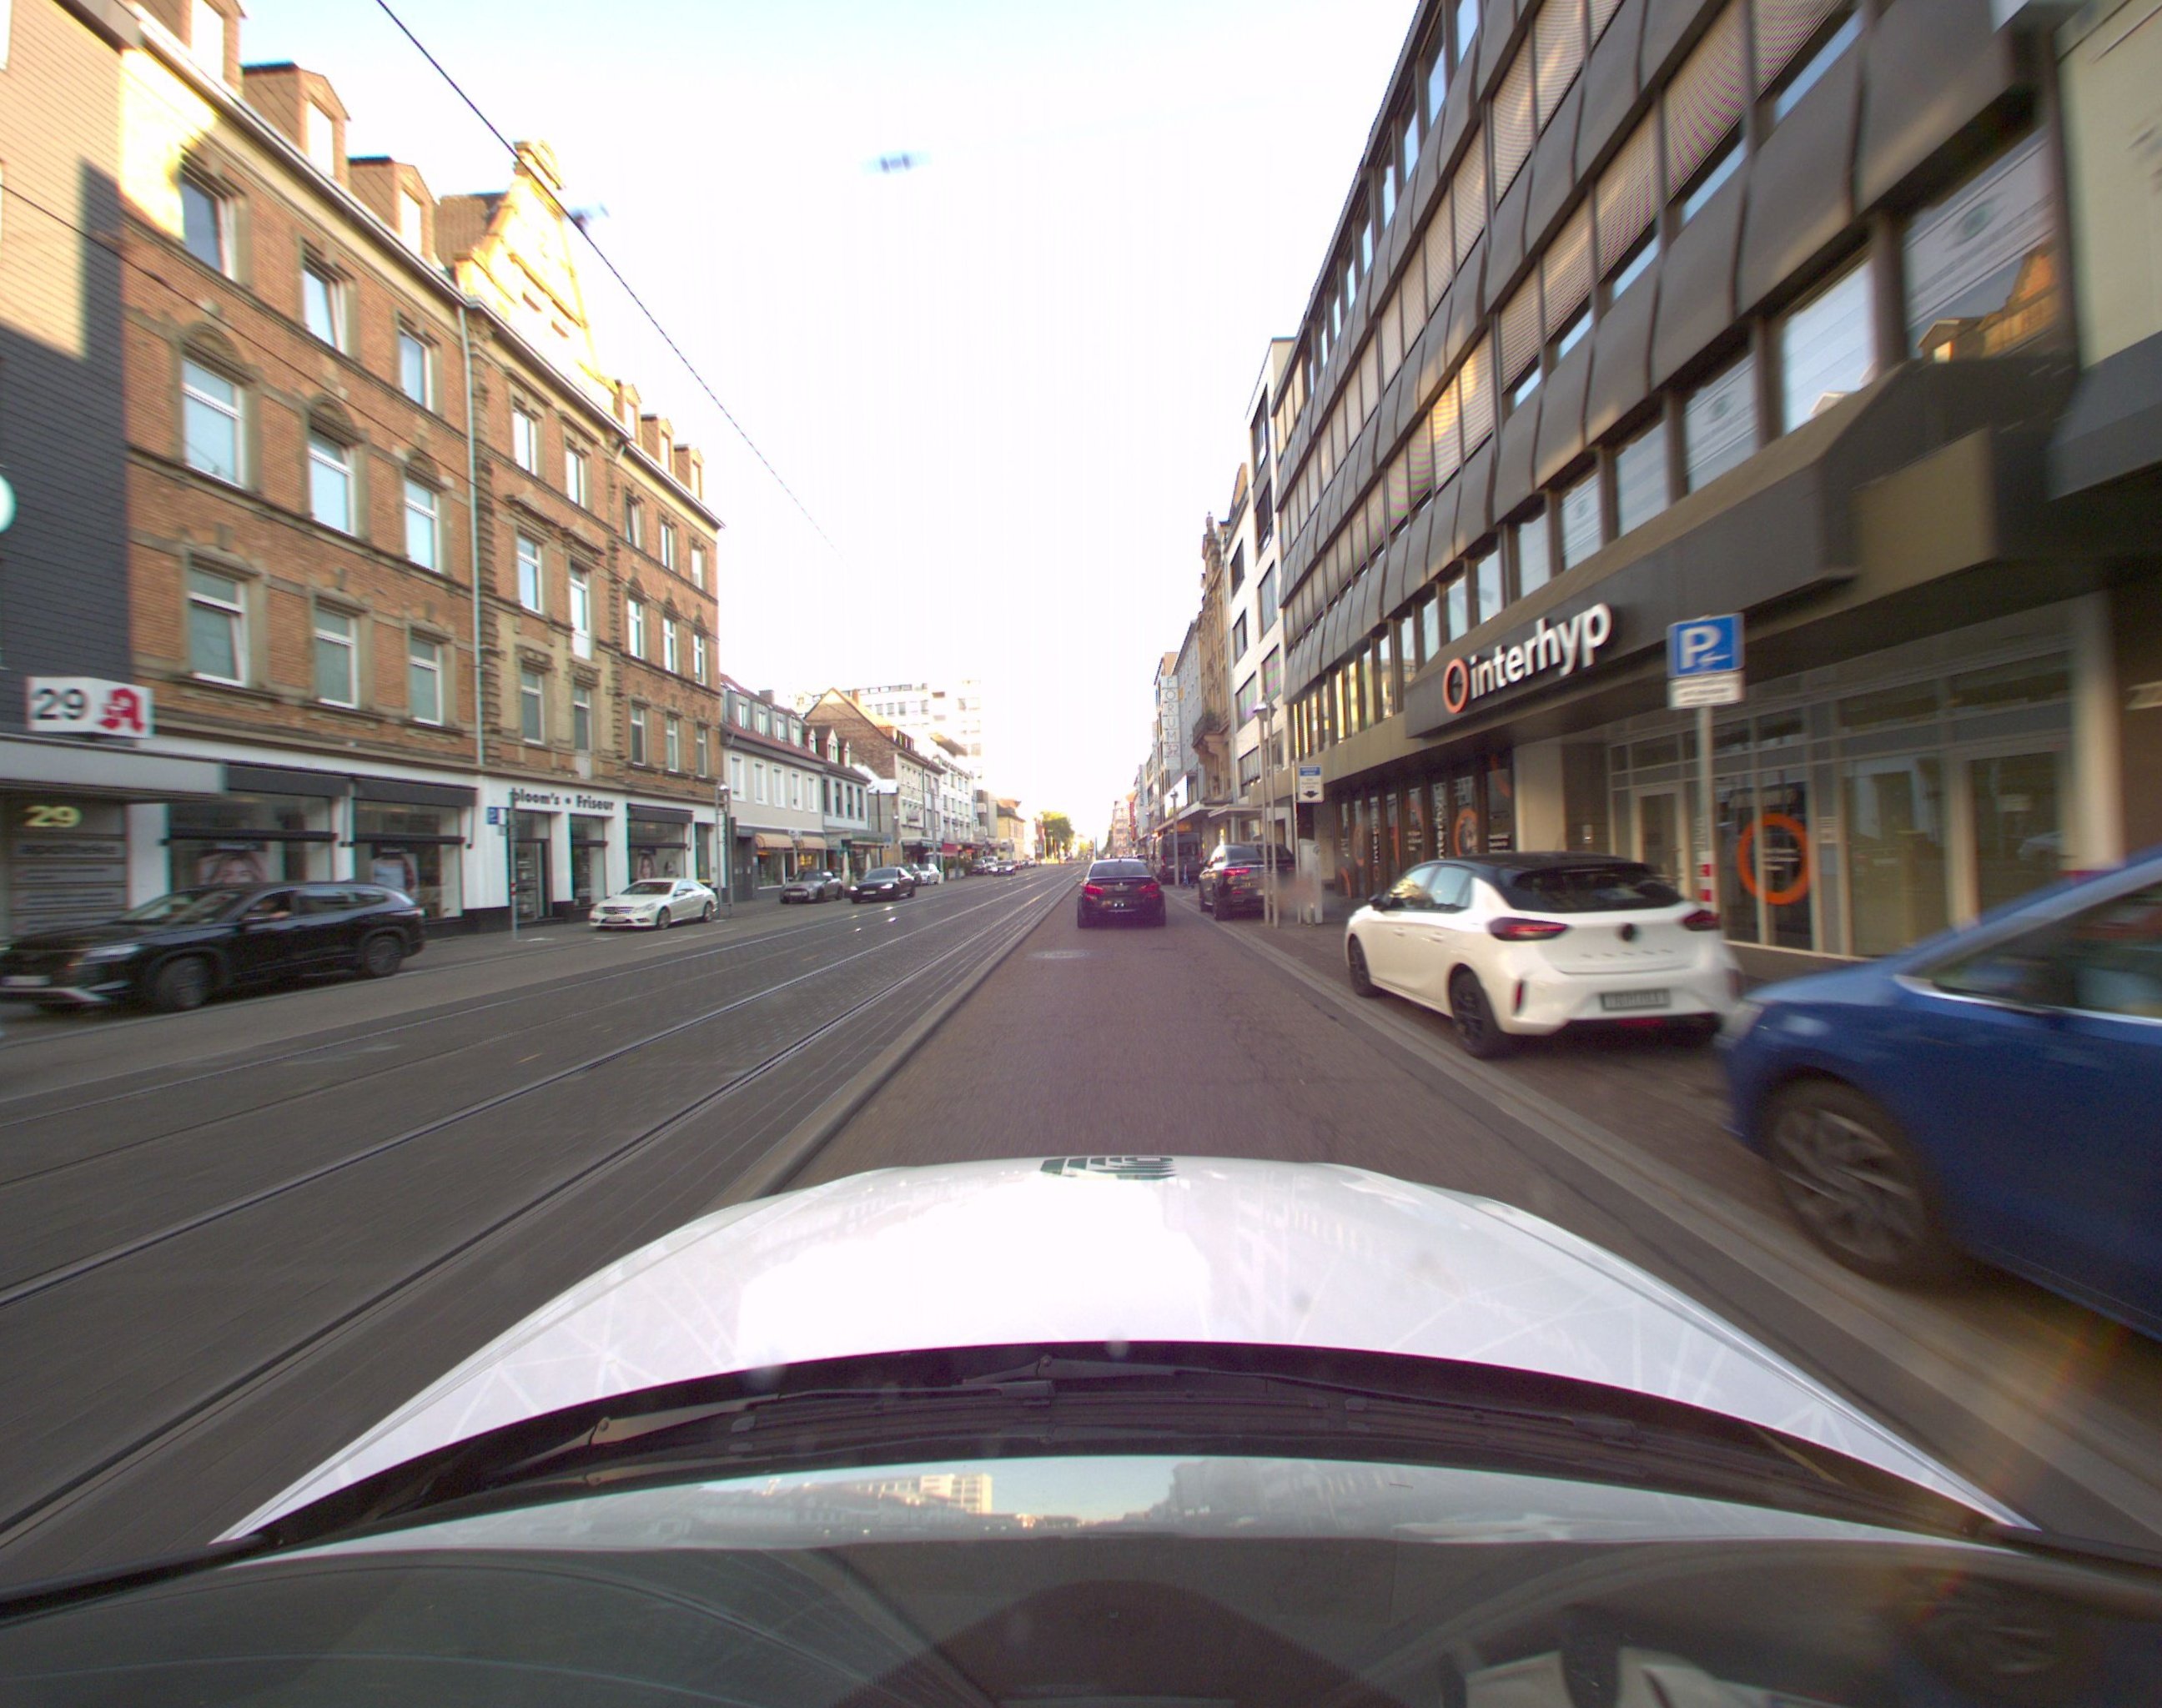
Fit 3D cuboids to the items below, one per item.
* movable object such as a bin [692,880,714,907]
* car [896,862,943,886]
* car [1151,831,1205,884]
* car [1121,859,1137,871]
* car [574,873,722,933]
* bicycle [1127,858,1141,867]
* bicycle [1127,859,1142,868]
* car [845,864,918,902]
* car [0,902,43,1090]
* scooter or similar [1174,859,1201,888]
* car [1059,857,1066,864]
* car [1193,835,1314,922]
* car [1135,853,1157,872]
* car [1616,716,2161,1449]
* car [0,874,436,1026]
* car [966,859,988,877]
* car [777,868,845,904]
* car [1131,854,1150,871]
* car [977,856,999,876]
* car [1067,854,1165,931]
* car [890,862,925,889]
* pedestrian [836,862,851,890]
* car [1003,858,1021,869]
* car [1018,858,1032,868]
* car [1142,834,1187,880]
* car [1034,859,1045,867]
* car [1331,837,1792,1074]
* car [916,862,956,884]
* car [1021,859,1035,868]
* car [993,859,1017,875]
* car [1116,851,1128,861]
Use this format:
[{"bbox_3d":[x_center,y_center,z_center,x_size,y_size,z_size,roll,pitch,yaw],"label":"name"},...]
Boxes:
[{"bbox_3d":[-14.840,1.550,31.973,0.516,1.043,0.659,0,0,1],"label":"movable object such as a bin"},{"bbox_3d":[-11.141,1.357,56.520,1.985,1.453,4.825,-2,0,3],"label":"car"},{"bbox_3d":[4.974,0.158,42.557,2.085,2.455,6.033,-3,0,1],"label":"car"},{"bbox_3d":[6.433,1.430,109.638,1.896,1.549,4.001,-2,-1,1],"label":"car"},{"bbox_3d":[-12.375,1.339,23.661,1.863,1.453,4.608,1,0,-1],"label":"car"},{"bbox_3d":[6.916,1.114,106.177,1.854,1.119,0.469,-2,-2,2],"label":"bicycle"},{"bbox_3d":[6.557,1.161,100.342,1.854,1.080,0.469,-2,-2,2],"label":"bicycle"},{"bbox_3d":[-8.478,1.188,35.007,1.988,1.453,4.647,-2,0,-1],"label":"car"},{"bbox_3d":[-9.470,1.167,4.262,1.987,1.453,4.656,-4,0,1],"label":"car"},{"bbox_3d":[4.552,0.828,34.803,0.493,1.220,1.273,-3,-1,38],"label":"scooter or similar"},{"bbox_3d":[-5.278,1.846,232.576,1.986,1.838,4.000,-2,-3,1],"label":"car"},{"bbox_3d":[3.936,0.519,19.385,1.986,1.727,4.567,-3,0,2],"label":"car"},{"bbox_3d":[5.680,0.753,71.177,1.649,1.537,3.886,-3,0,1],"label":"car"},{"bbox_3d":[3.485,0.482,1.516,1.986,1.727,4.578,-4,0,2],"label":"car"},{"bbox_3d":[-12.496,1.212,12.087,1.922,1.674,4.651,-1,0,4],"label":"car"},{"bbox_3d":[-10.548,1.416,83.003,1.862,1.685,3.996,-2,-1,-3],"label":"car"},{"bbox_3d":[-11.845,1.363,35.973,1.592,1.440,3.814,0,0,2],"label":"car"},{"bbox_3d":[5.558,0.766,76.242,1.554,1.442,3.710,-4,0,1],"label":"car"},{"bbox_3d":[-10.368,1.310,91.017,1.988,2.156,4.907,-2,0,-2],"label":"car"},{"bbox_3d":[0.817,0.777,18.673,1.945,1.498,4.468,-1,0,3],"label":"car"},{"bbox_3d":[-11.020,1.363,51.784,1.471,1.577,2.796,-3,0,2],"label":"car"},{"bbox_3d":[-13.939,1.279,47.824,0.660,1.644,0.694,-2,-1,2],"label":"pedestrian"},{"bbox_3d":[-9.776,1.350,115.553,1.921,1.435,4.247,-1,0,2],"label":"car"},{"bbox_3d":[-9.214,1.468,134.079,1.921,1.435,4.247,-2,0,2],"label":"car"},{"bbox_3d":[4.928,0.197,48.863,2.027,2.455,5.408,-4,0,0],"label":"car"},{"bbox_3d":[-8.282,1.813,163.257,1.921,1.435,4.247,-1,0,2],"label":"car"},{"bbox_3d":[3.661,0.643,7.143,1.789,1.433,3.888,-3,0,2],"label":"car"},{"bbox_3d":[-10.852,1.396,61.393,1.985,1.453,4.332,-2,0,3],"label":"car"},{"bbox_3d":[-9.094,1.667,140.140,1.921,1.435,4.247,-1,0,2],"label":"car"},{"bbox_3d":[-7.130,1.214,76.921,1.685,1.453,4.467,-2,0,2],"label":"car"},{"bbox_3d":[6.575,0.388,131.079,1.768,1.549,3.504,-2,-1,1],"label":"car"}]
